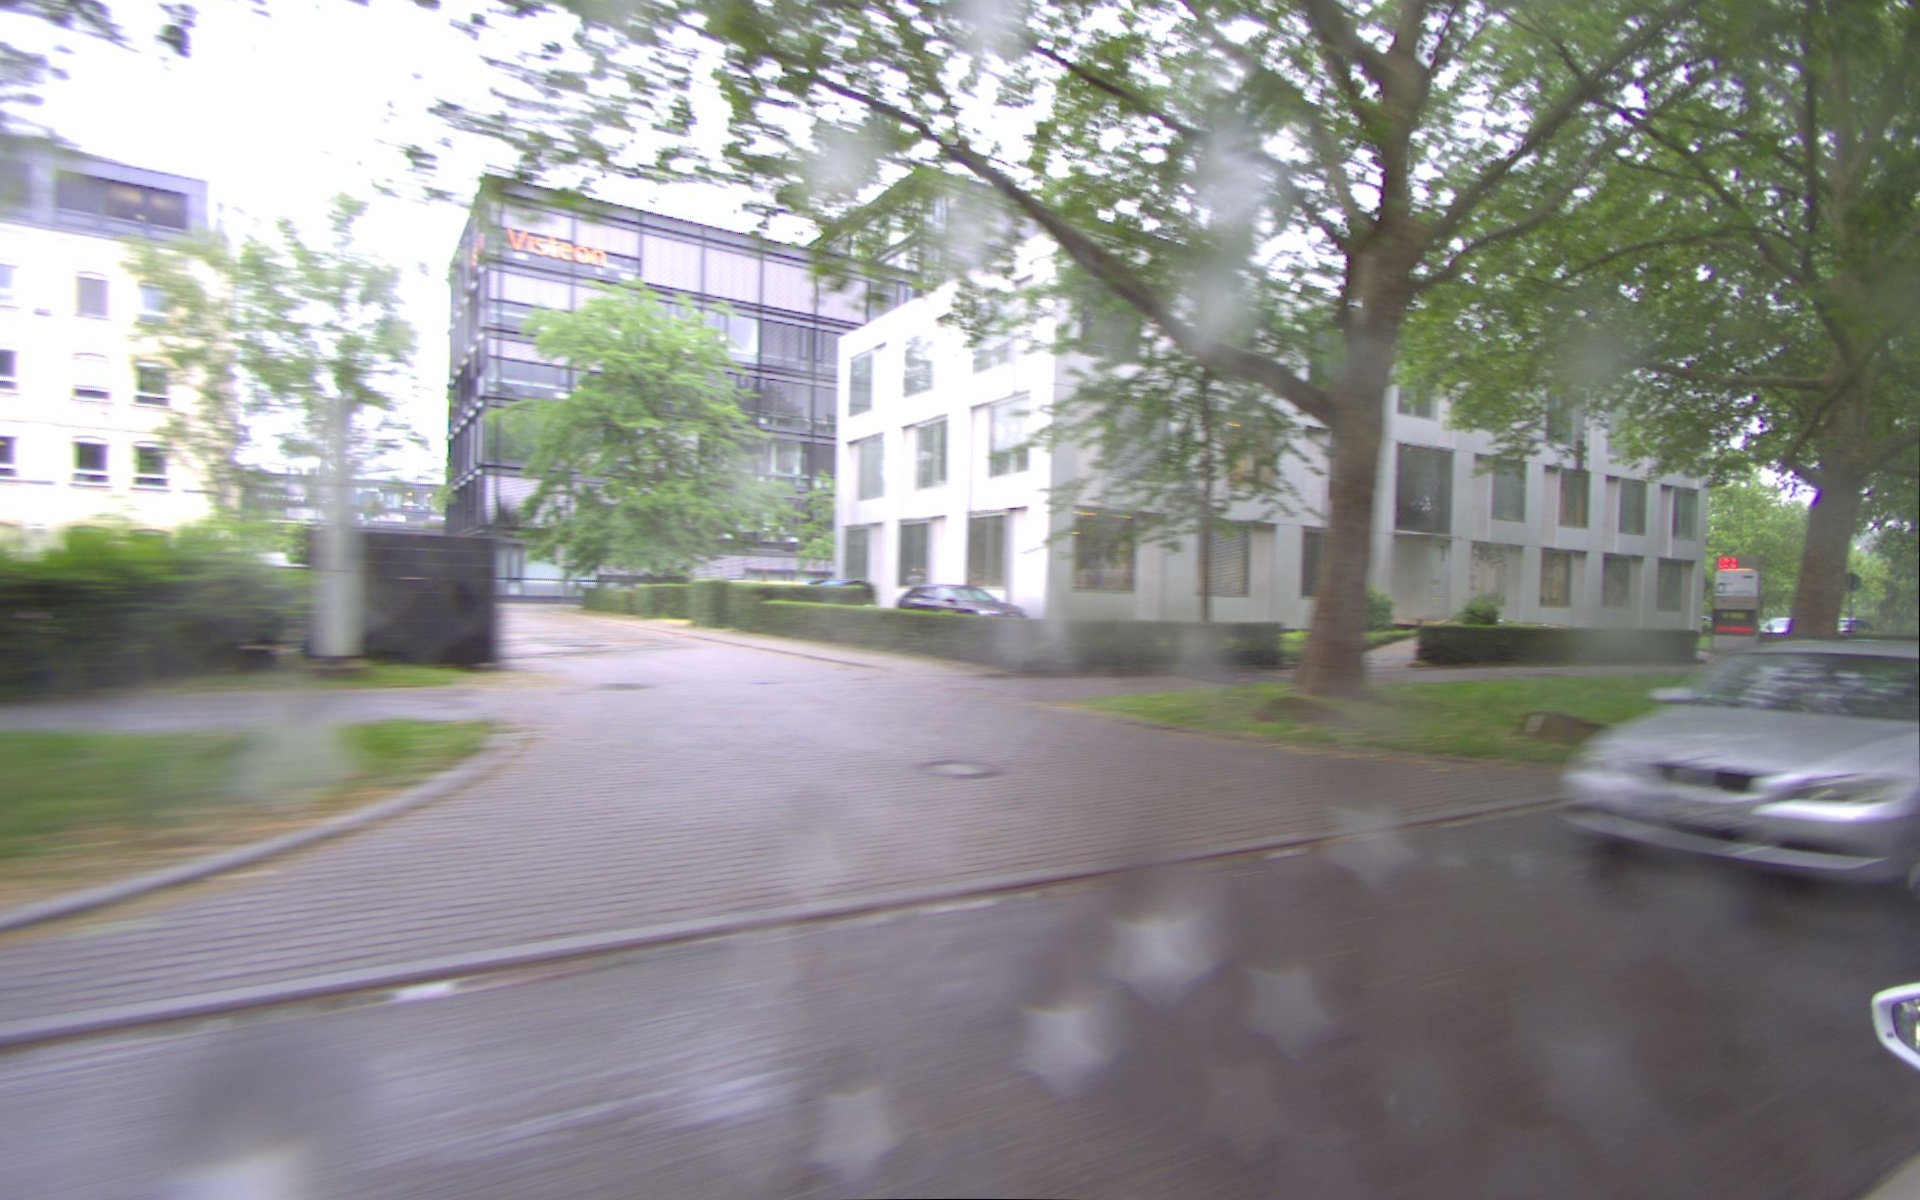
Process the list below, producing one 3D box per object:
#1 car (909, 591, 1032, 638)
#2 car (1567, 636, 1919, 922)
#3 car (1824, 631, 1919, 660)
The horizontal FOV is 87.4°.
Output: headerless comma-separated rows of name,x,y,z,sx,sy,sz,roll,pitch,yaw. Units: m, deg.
car,0.239,0.389,29.110,1.769,1.172,3.967,1,1,-30
car,6.334,0.981,6.996,4.496,1.407,1.670,1,0,-30
car,45.971,2.255,50.065,1.977,1.150,3.967,1,1,-30
